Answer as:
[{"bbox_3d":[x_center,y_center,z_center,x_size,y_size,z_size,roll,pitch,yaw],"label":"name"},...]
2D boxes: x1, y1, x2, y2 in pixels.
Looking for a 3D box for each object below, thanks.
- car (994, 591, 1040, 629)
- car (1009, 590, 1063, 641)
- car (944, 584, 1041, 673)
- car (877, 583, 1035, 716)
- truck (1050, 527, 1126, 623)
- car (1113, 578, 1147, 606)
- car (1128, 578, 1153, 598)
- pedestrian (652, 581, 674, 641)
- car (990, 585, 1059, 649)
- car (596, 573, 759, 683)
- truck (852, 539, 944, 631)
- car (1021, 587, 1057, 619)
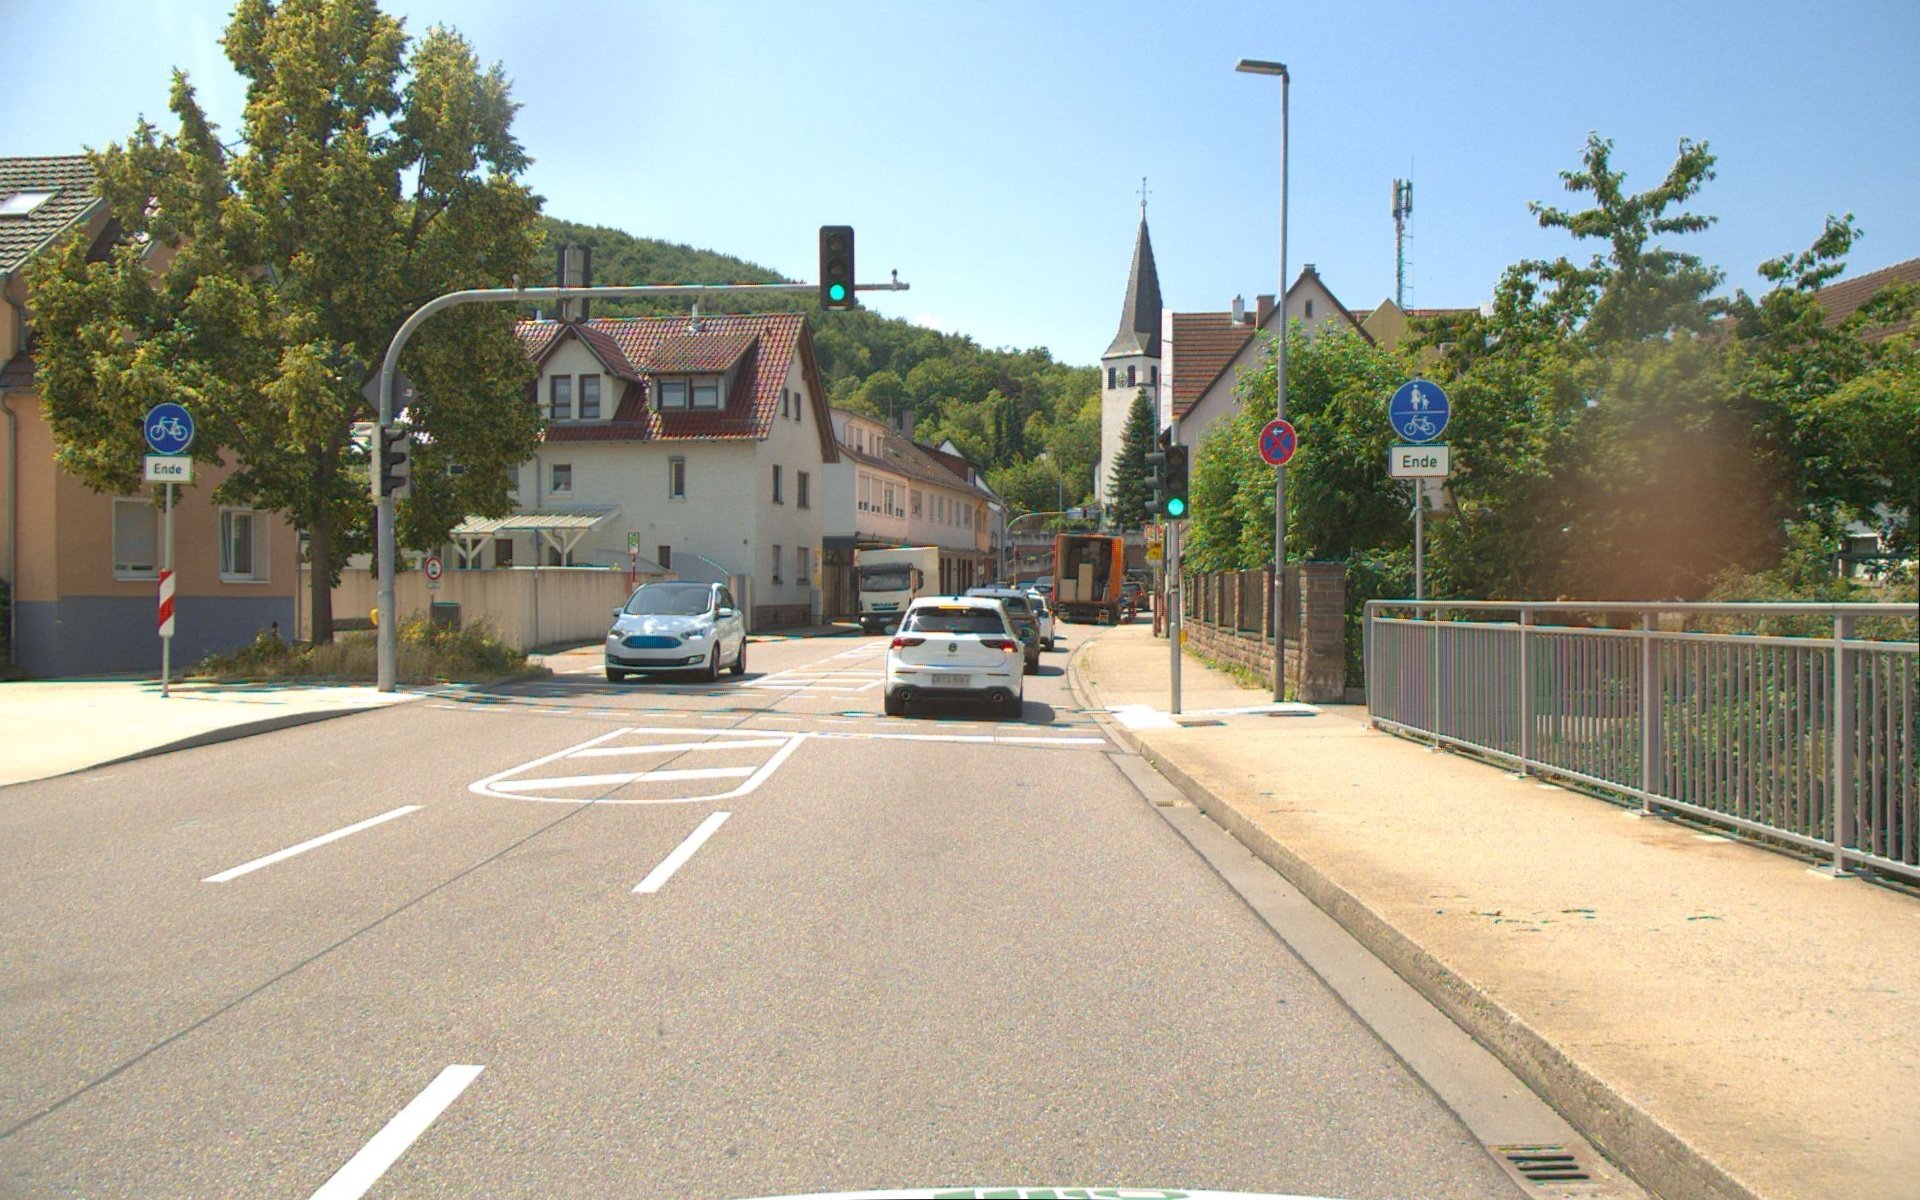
[{"bbox_3d":[2.427,0.415,69.616,1.777,1.545,4.002,-1,0,4],"label":"car"},{"bbox_3d":[2.639,0.522,56.693,1.777,1.657,4.002,-1,0,4],"label":"car"},{"bbox_3d":[0.712,0.558,33.567,1.777,1.657,4.002,-1,0,4],"label":"car"},{"bbox_3d":[0.037,0.598,21.658,1.777,1.545,4.002,1,0,4],"label":"car"},{"bbox_3d":[6.220,-1.107,78.867,3.295,4.243,9.525,-1,0,6],"label":"truck"},{"bbox_3d":[9.620,-0.447,93.758,1.777,1.545,4.002,-1,0,4],"label":"car"},{"bbox_3d":[14.829,-0.958,135.974,1.777,1.545,4.002,-1,0,4],"label":"car"},{"bbox_3d":[-8.936,0.320,49.811,0.425,1.795,0.557,0,0,22],"label":"pedestrian"},{"bbox_3d":[1.828,0.454,45.646,1.777,1.657,4.002,-1,0,4],"label":"car"},{"bbox_3d":[-4.631,0.442,27.661,1.777,1.678,4.002,1,0,4],"label":"car"},{"bbox_3d":[-2.289,-0.538,63.371,2.448,3.292,6.045,-1,0,8],"label":"truck"},{"bbox_3d":[4.122,0.164,85.468,1.777,1.545,4.002,-1,0,4],"label":"car"}]
